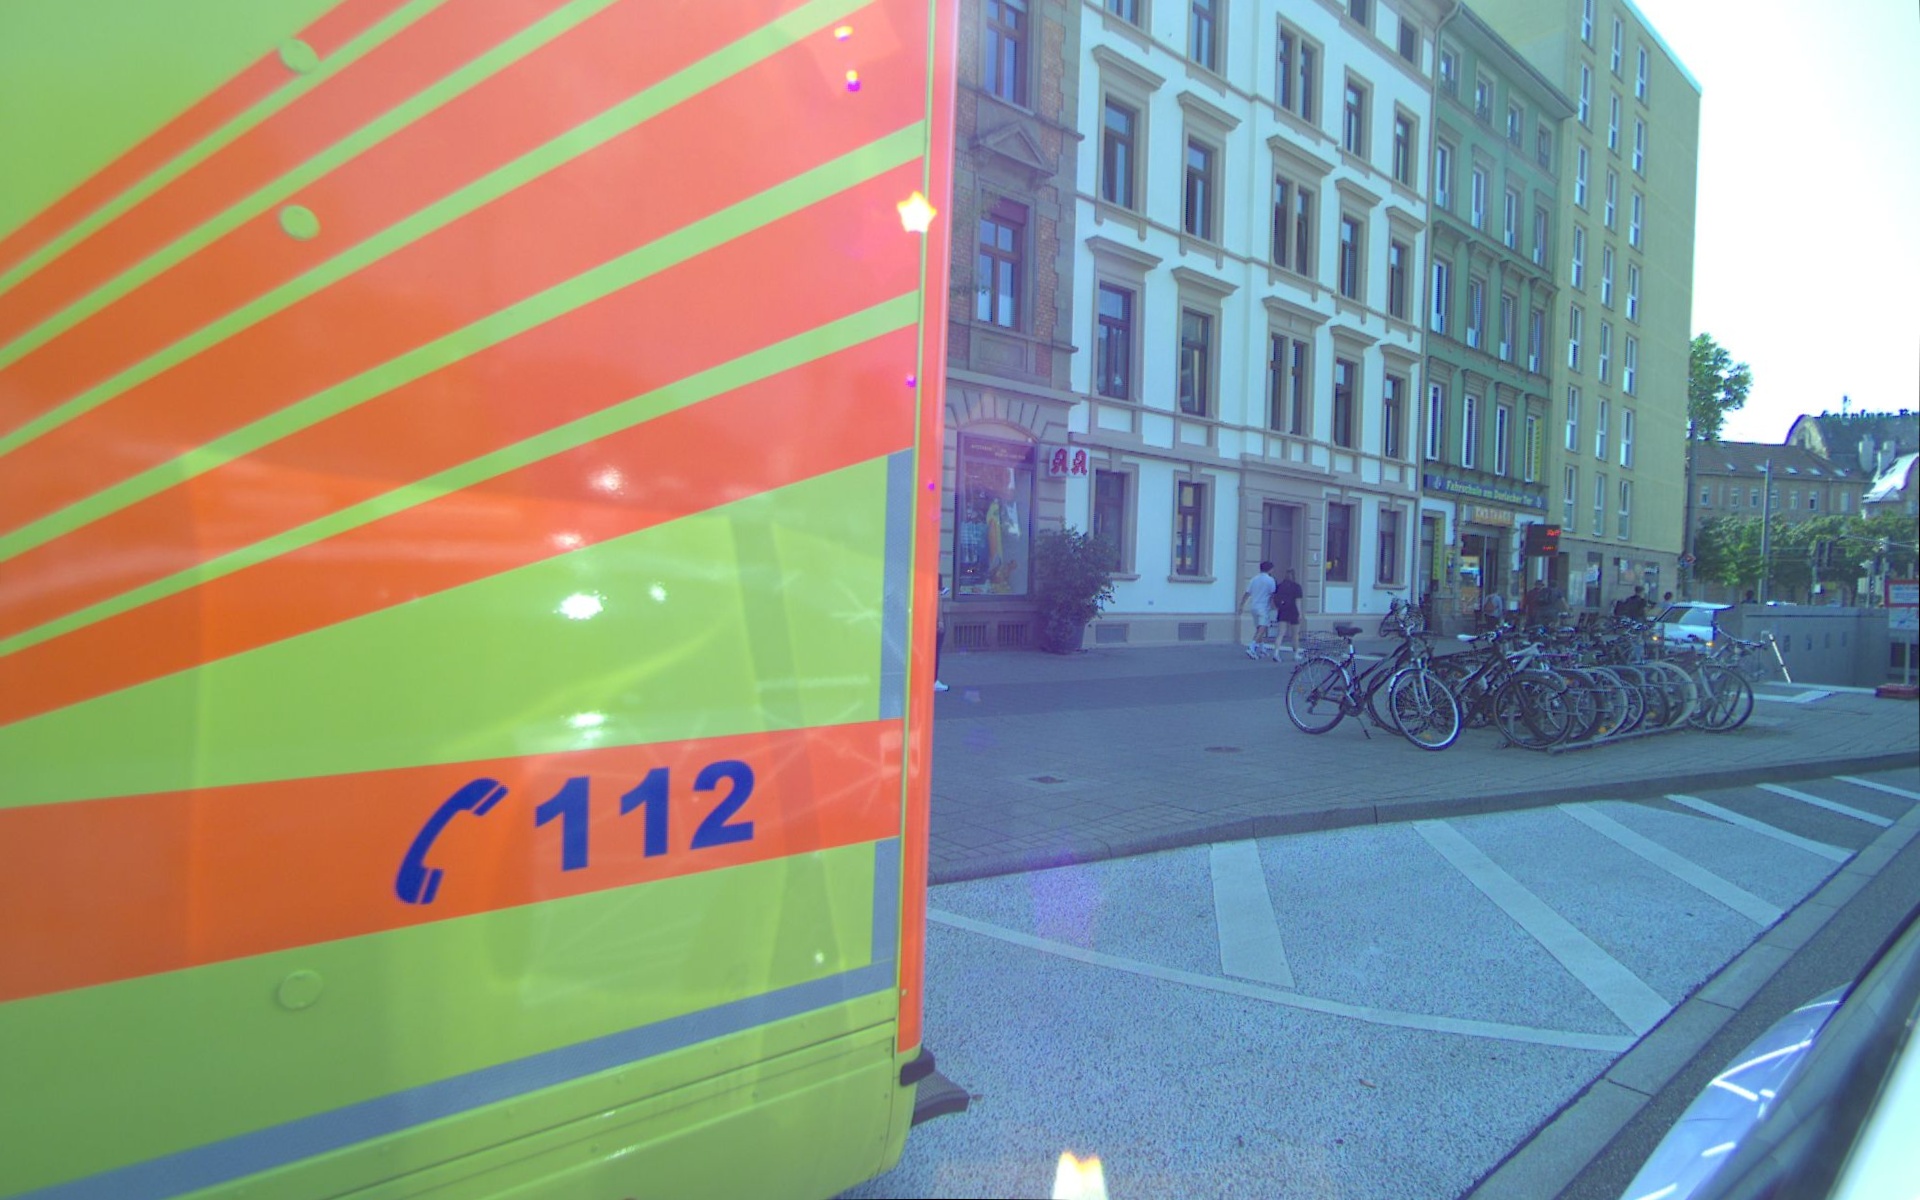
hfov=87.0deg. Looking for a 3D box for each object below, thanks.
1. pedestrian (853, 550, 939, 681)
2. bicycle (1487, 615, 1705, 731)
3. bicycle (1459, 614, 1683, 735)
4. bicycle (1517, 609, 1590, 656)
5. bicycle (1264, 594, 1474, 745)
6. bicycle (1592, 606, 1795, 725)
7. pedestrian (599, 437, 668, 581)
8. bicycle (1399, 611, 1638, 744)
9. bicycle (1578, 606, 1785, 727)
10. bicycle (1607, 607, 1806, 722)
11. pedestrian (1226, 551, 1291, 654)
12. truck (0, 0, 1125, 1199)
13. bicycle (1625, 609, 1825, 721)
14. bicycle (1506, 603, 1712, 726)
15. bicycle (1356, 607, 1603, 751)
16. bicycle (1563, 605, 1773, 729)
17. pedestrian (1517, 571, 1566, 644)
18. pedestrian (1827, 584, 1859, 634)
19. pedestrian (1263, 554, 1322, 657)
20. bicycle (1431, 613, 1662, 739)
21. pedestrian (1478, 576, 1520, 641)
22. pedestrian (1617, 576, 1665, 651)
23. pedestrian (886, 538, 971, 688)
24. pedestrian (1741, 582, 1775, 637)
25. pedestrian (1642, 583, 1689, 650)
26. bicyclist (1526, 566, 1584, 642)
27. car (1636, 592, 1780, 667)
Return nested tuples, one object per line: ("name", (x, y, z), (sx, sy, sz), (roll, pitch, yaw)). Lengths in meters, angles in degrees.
("pedestrian", (-0.776, 0.177, 12.314), (0.827, 1.528, 0.558), (1, 2, -39))
("bicycle", (6.687, 0.723, 10.727), (0.645, 1.070, 1.841), (1, 0, -39))
("bicycle", (6.161, 0.705, 10.299), (0.645, 1.074, 1.841), (1, 0, -39))
("bicycle", (12.931, 0.690, 22.016), (1.965, 0.965, 0.721), (1, 1, -40))
("bicycle", (3.595, 0.558, 8.999), (0.677, 1.200, 1.607), (1, 0, -39))
("bicycle", (8.379, 0.701, 11.644), (0.427, 1.235, 1.841), (1, 0, -39))
("pedestrian", (-4.483, -1.219, 13.880), (0.650, 1.886, 0.738), (1, 1, -40))
("bicycle", (5.144, 0.665, 9.426), (0.645, 1.074, 1.841), (1, 0, -39))
("bicycle", (8.033, 0.693, 11.352), (0.427, 1.219, 1.841), (1, 0, -39))
("bicycle", (8.748, 0.714, 11.936), (0.427, 1.219, 1.841), (1, 0, -39))
("pedestrian", (5.490, 0.030, 18.619), (0.913, 1.826, 0.726), (0, 2, -44))
("truck", (-2.950, -0.106, 0.651), (6.221, 2.803, 2.336), (0, 4, -37))
("bicycle", (9.228, 0.733, 12.280), (0.626, 1.219, 1.841), (1, 0, -39))
("bicycle", (7.110, 0.655, 11.171), (0.539, 1.219, 1.841), (1, 0, -39))
("bicycle", (4.492, 0.627, 8.868), (0.686, 1.089, 1.806), (1, 0, -40))
("bicycle", (7.696, 0.681, 11.087), (0.427, 1.219, 1.841), (1, 0, -39))
("pedestrian", (14.548, 0.184, 25.304), (0.867, 1.755, 0.771), (1, 2, -43))
("pedestrian", (29.812, 0.309, 34.167), (0.782, 1.648, 0.645), (1, 2, -39))
("pedestrian", (5.957, 0.089, 18.142), (0.783, 1.793, 0.644), (0, 2, -45))
("bicycle", (5.666, 0.688, 9.871), (0.645, 1.066, 1.841), (1, 0, -39))
("pedestrian", (13.989, 0.216, 26.269), (0.782, 1.648, 0.645), (1, 2, -39))
("pedestrian", (16.668, 0.320, 24.765), (0.782, 1.780, 0.689), (1, 2, -38))
("pedestrian", (-0.369, 0.135, 11.790), (0.696, 1.671, 0.645), (1, 2, -39))
("pedestrian", (24.950, 0.290, 31.641), (0.782, 1.648, 0.645), (1, 2, -40))
("pedestrian", (17.944, 0.421, 25.752), (0.781, 1.648, 0.647), (1, 2, -31))
("bicyclist", (12.937, 0.087, 22.010), (1.083, 1.606, 0.721), (1, 1, -39))
("car", (17.019, 0.629, 22.982), (3.863, 1.444, 1.667), (0, 4, -39))
